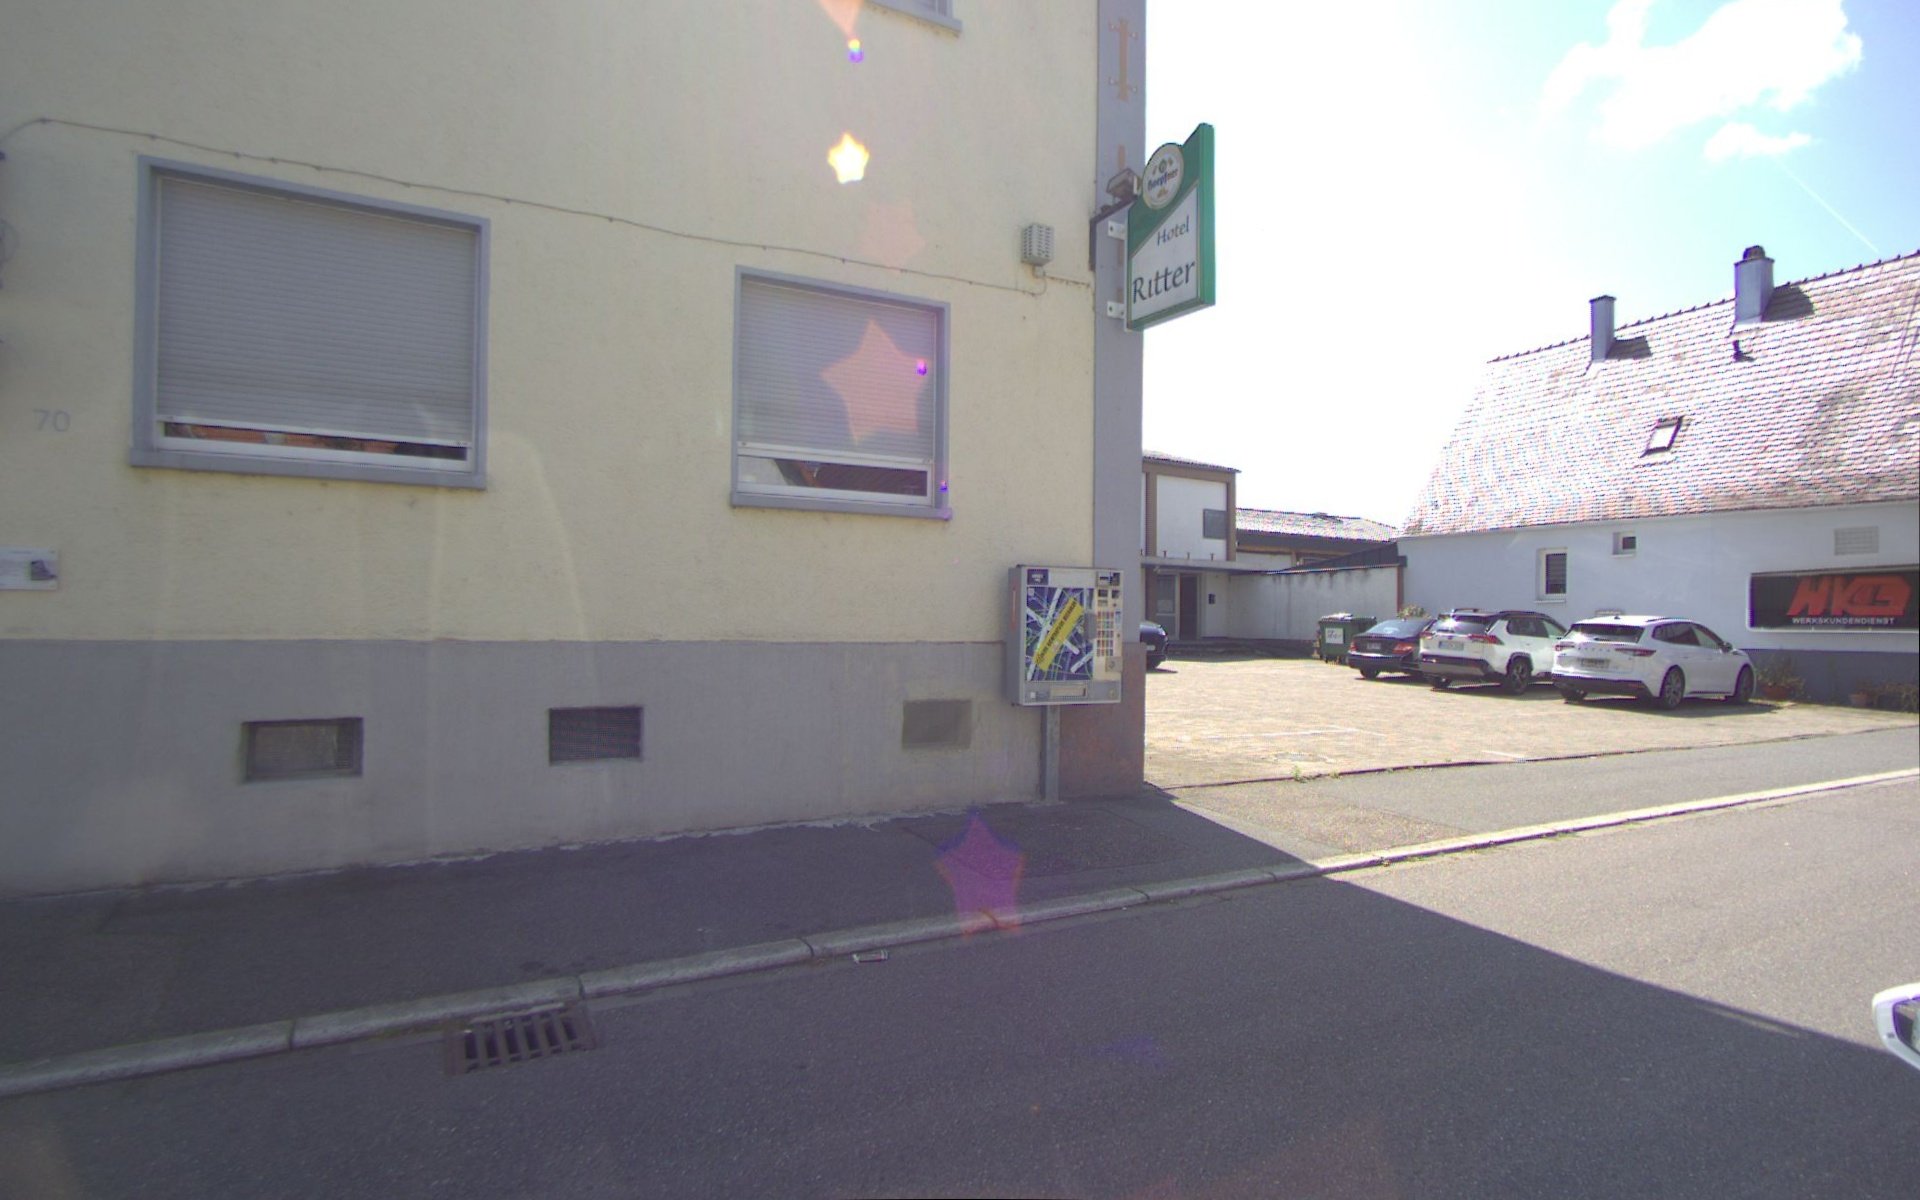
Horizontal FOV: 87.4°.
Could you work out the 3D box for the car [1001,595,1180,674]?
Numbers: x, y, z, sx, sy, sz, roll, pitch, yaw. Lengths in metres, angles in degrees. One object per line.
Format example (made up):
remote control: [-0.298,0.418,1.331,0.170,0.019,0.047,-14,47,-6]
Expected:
car: [3.061,0.776,24.694,2.012,1.748,4.660,1,-1,-29]

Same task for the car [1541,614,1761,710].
car: [13.019,1.105,18.866,4.428,1.591,1.765,1,-1,-31]

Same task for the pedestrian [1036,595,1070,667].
pedestrian: [2.244,0.737,24.319,0.769,1.680,0.831,1,0,4]

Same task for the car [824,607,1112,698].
car: [0.190,0.869,17.543,4.770,1.398,1.816,1,0,-29]

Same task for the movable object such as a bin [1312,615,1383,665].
movable object such as a bin: [10.768,1.104,27.948,1.196,1.318,1.383,1,-1,-27]

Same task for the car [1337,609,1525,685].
car: [10.991,1.060,23.375,4.426,1.591,1.765,1,-1,-30]

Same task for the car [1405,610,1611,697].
car: [11.518,1.070,21.037,4.426,1.641,1.765,1,-1,-30]
